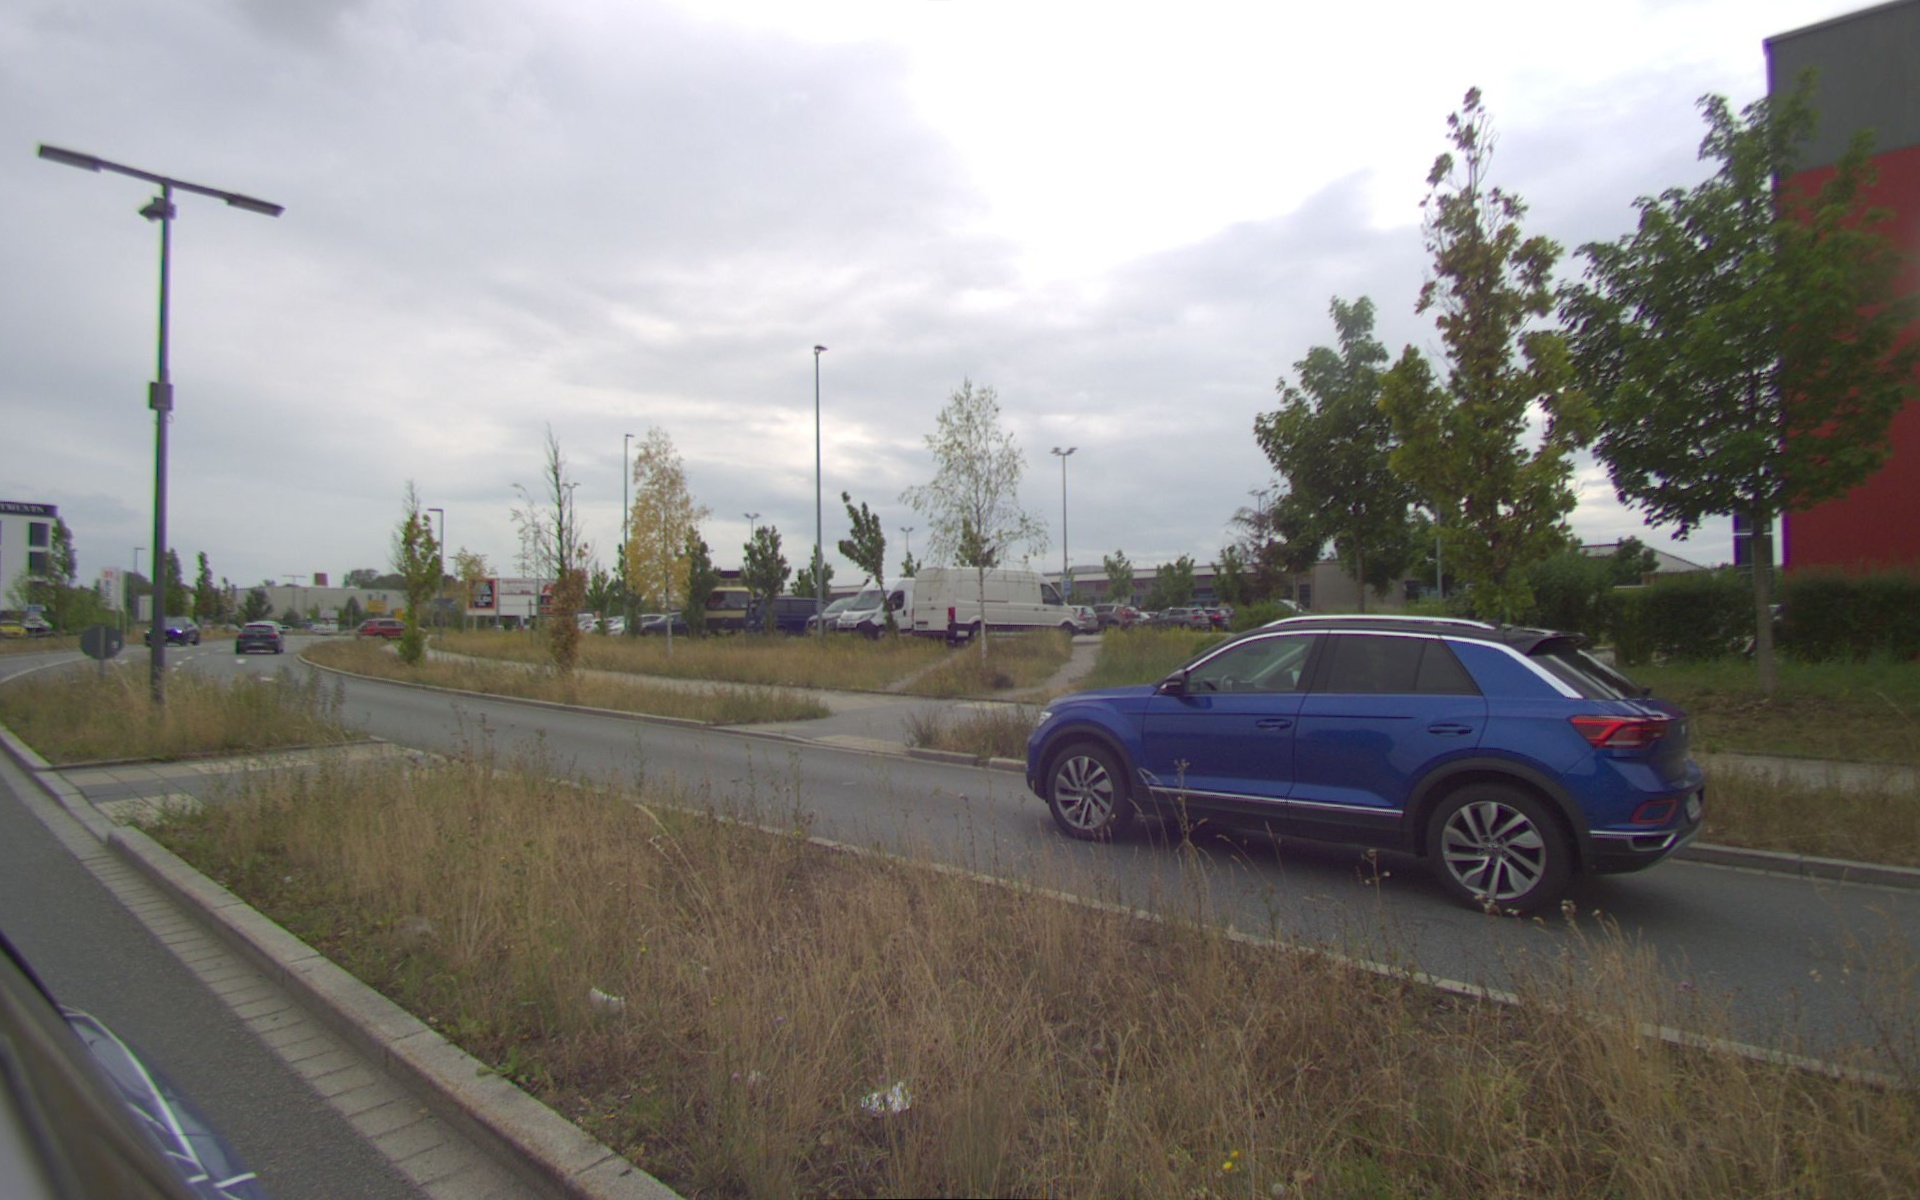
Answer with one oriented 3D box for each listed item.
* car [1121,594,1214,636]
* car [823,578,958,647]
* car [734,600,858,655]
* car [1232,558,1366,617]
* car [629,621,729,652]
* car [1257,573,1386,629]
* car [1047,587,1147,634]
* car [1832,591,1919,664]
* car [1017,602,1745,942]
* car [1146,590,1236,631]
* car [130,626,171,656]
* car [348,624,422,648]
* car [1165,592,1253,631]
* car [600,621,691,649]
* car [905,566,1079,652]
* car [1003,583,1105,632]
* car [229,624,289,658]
[{"bbox_3d":[12.209,0.860,59.786,5.056,2.391,2.036,-1,0,42],"label":"car"},{"bbox_3d":[-2.492,0.433,37.580,2.064,2.391,4.987,-1,0,42],"label":"car"},{"bbox_3d":[-7.068,1.209,43.865,4.978,2.240,2.067,1,-2,-41],"label":"car"},{"bbox_3d":[14.423,-0.491,43.243,5.050,2.391,2.038,-1,0,38],"label":"car"},{"bbox_3d":[-15.652,2.022,56.541,4.976,1.669,2.069,1,-2,-38],"label":"car"},{"bbox_3d":[16.133,0.061,45.280,5.050,2.391,2.038,-1,0,38],"label":"car"},{"bbox_3d":[7.288,0.551,54.333,5.056,2.391,2.036,-1,0,42],"label":"car"},{"bbox_3d":[17.476,0.475,18.064,2.861,1.279,1.244,-1,0,43],"label":"car"},{"bbox_3d":[2.459,0.836,6.539,3.999,1.524,1.710,-2,-2,42],"label":"car"},{"bbox_3d":[14.124,0.683,62.149,5.056,2.391,2.036,-2,-2,42],"label":"car"},{"bbox_3d":[-48.785,2.459,61.064,1.833,1.683,4.008,-1,-2,-38],"label":"car"},{"bbox_3d":[-38.395,2.367,67.665,1.731,1.475,3.955,-1,0,33],"label":"car"},{"bbox_3d":[15.697,0.770,63.968,5.056,2.391,2.036,-2,-2,42],"label":"car"},{"bbox_3d":[-19.601,2.185,63.178,4.976,1.669,2.069,1,-2,-38],"label":"car"},{"bbox_3d":[1.210,0.258,34.181,6.325,2.644,2.066,-1,0,-45],"label":"car"},{"bbox_3d":[4.814,0.383,52.333,5.056,2.391,2.036,-1,0,42],"label":"car"},{"bbox_3d":[-33.161,1.918,47.960,1.704,1.504,4.013,1,-2,-26],"label":"car"}]
